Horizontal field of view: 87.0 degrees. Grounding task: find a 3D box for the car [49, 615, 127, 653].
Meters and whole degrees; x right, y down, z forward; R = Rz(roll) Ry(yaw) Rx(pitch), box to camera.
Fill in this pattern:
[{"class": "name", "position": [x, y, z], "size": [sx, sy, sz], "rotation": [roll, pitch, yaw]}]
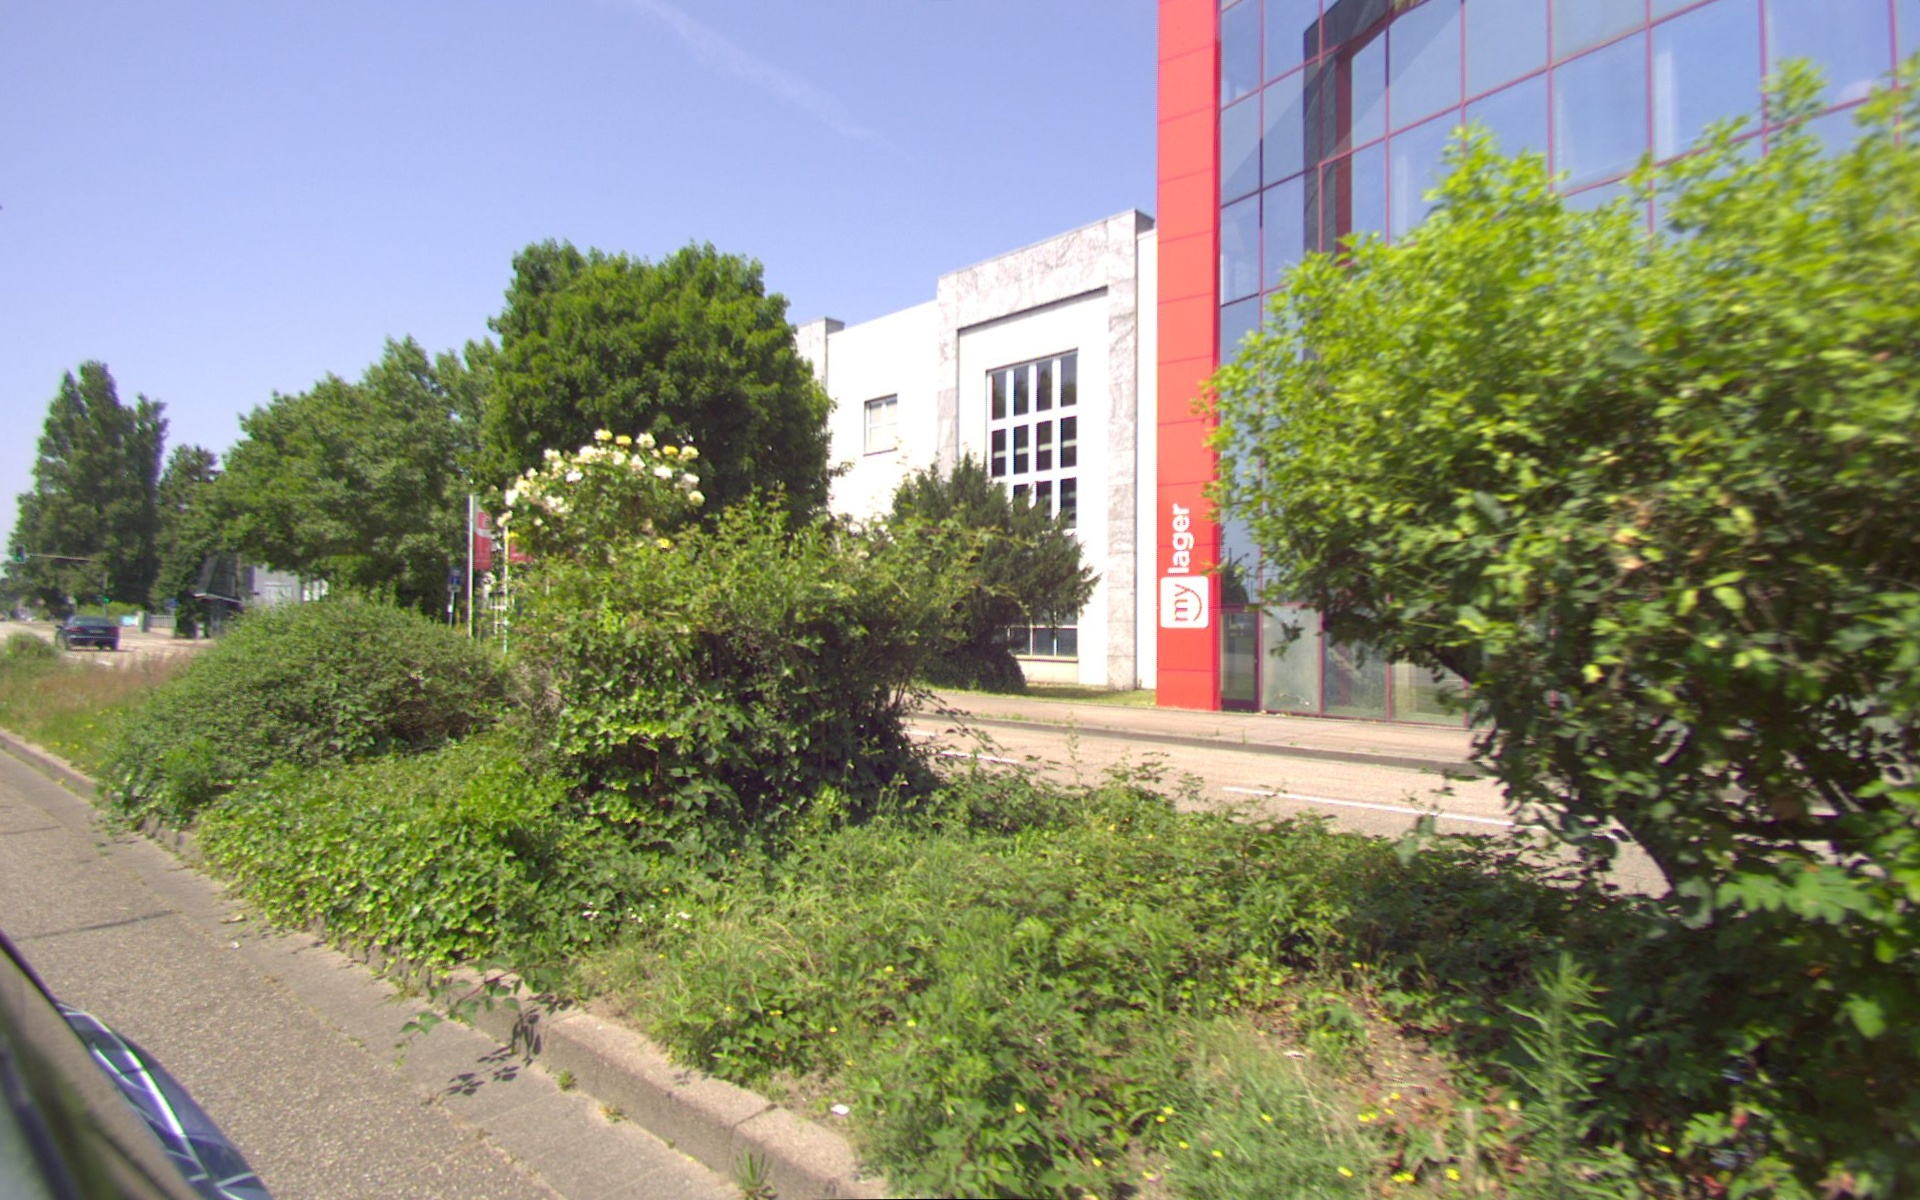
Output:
[{"class": "car", "position": [-35.844, 1.403, 41.577], "size": [4.243, 1.427, 1.704], "rotation": [-1, -5, 40]}]
